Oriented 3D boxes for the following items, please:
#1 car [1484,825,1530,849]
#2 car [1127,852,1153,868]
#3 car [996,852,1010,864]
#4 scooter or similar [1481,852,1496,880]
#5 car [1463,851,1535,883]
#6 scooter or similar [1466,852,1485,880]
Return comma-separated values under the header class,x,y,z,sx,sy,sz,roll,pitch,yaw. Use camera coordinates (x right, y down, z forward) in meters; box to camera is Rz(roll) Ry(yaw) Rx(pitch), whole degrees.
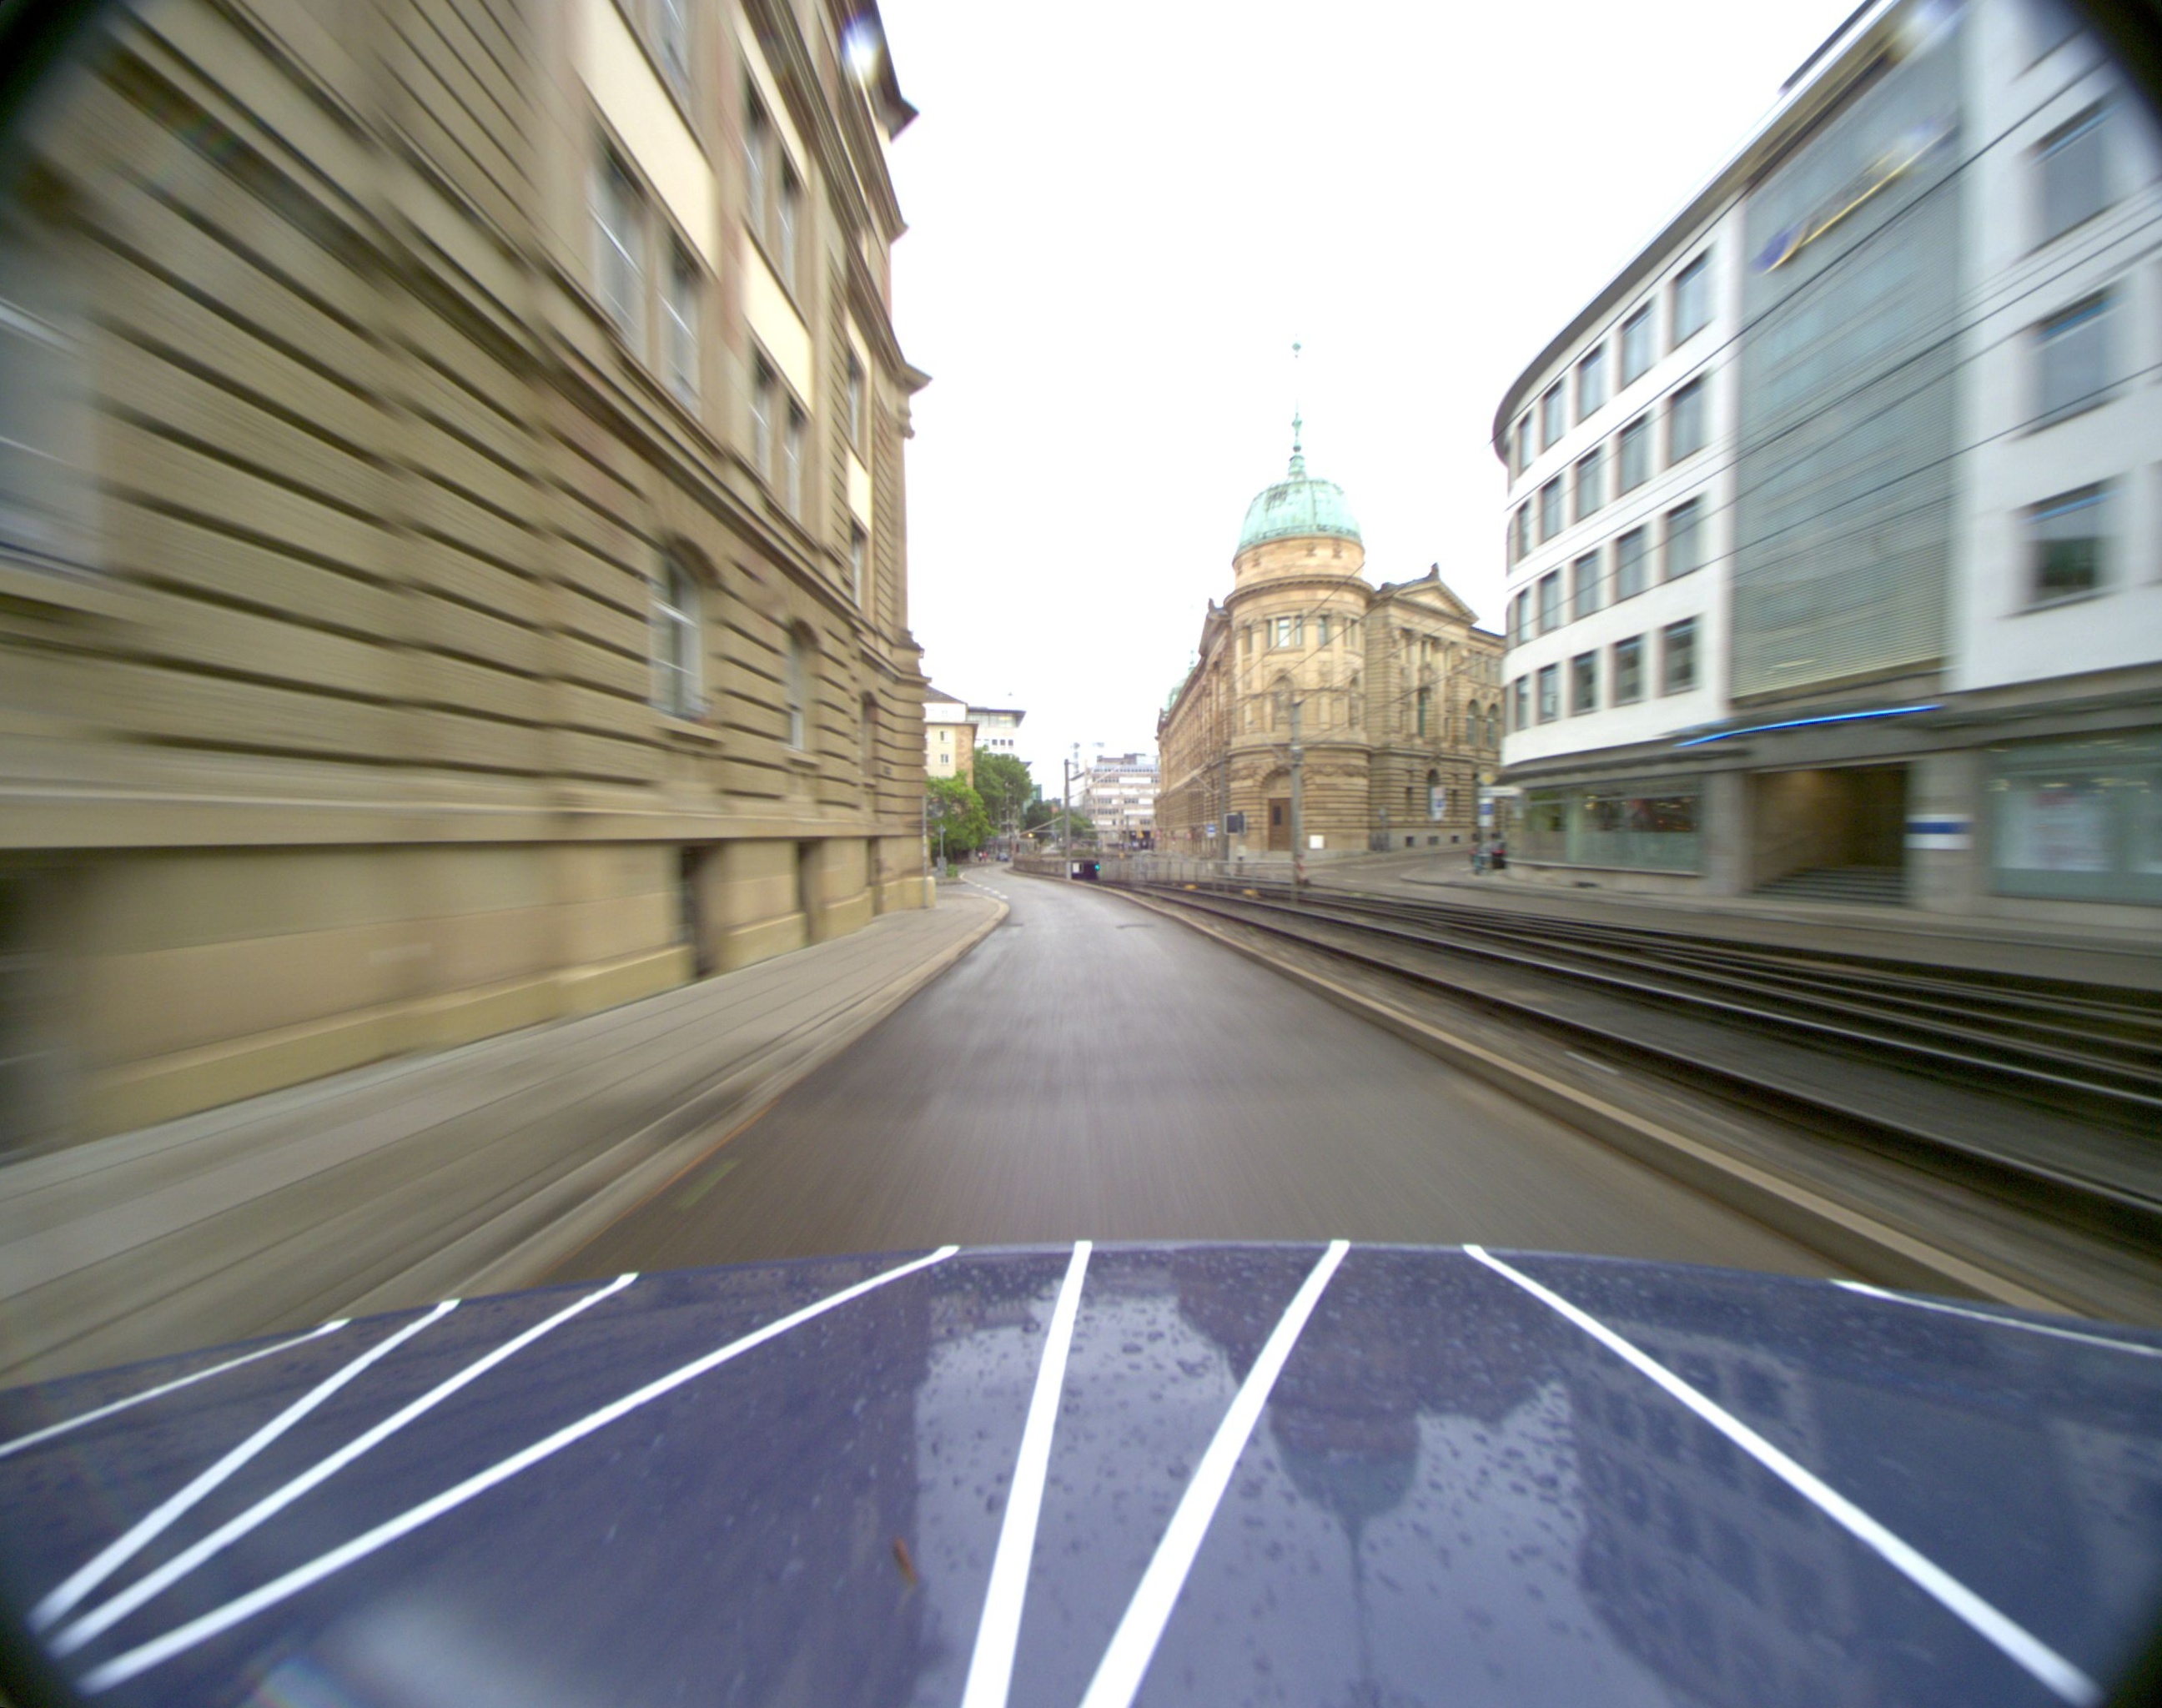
class,x,y,z,sx,sy,sz,roll,pitch,yaw
car,30.599,-1.240,54.565,1.994,1.631,4.008,0,2,43
car,5.806,0.590,75.016,1.999,1.379,3.998,-1,1,-3
car,-12.735,0.646,124.106,2.000,1.805,3.995,-2,1,-10
scooter or similar,18.191,0.529,33.917,0.410,1.194,1.562,-1,2,21
car,21.006,0.628,38.145,4.335,1.390,1.780,-3,2,-41
scooter or similar,17.771,0.535,34.220,0.410,1.194,1.561,-1,1,14
